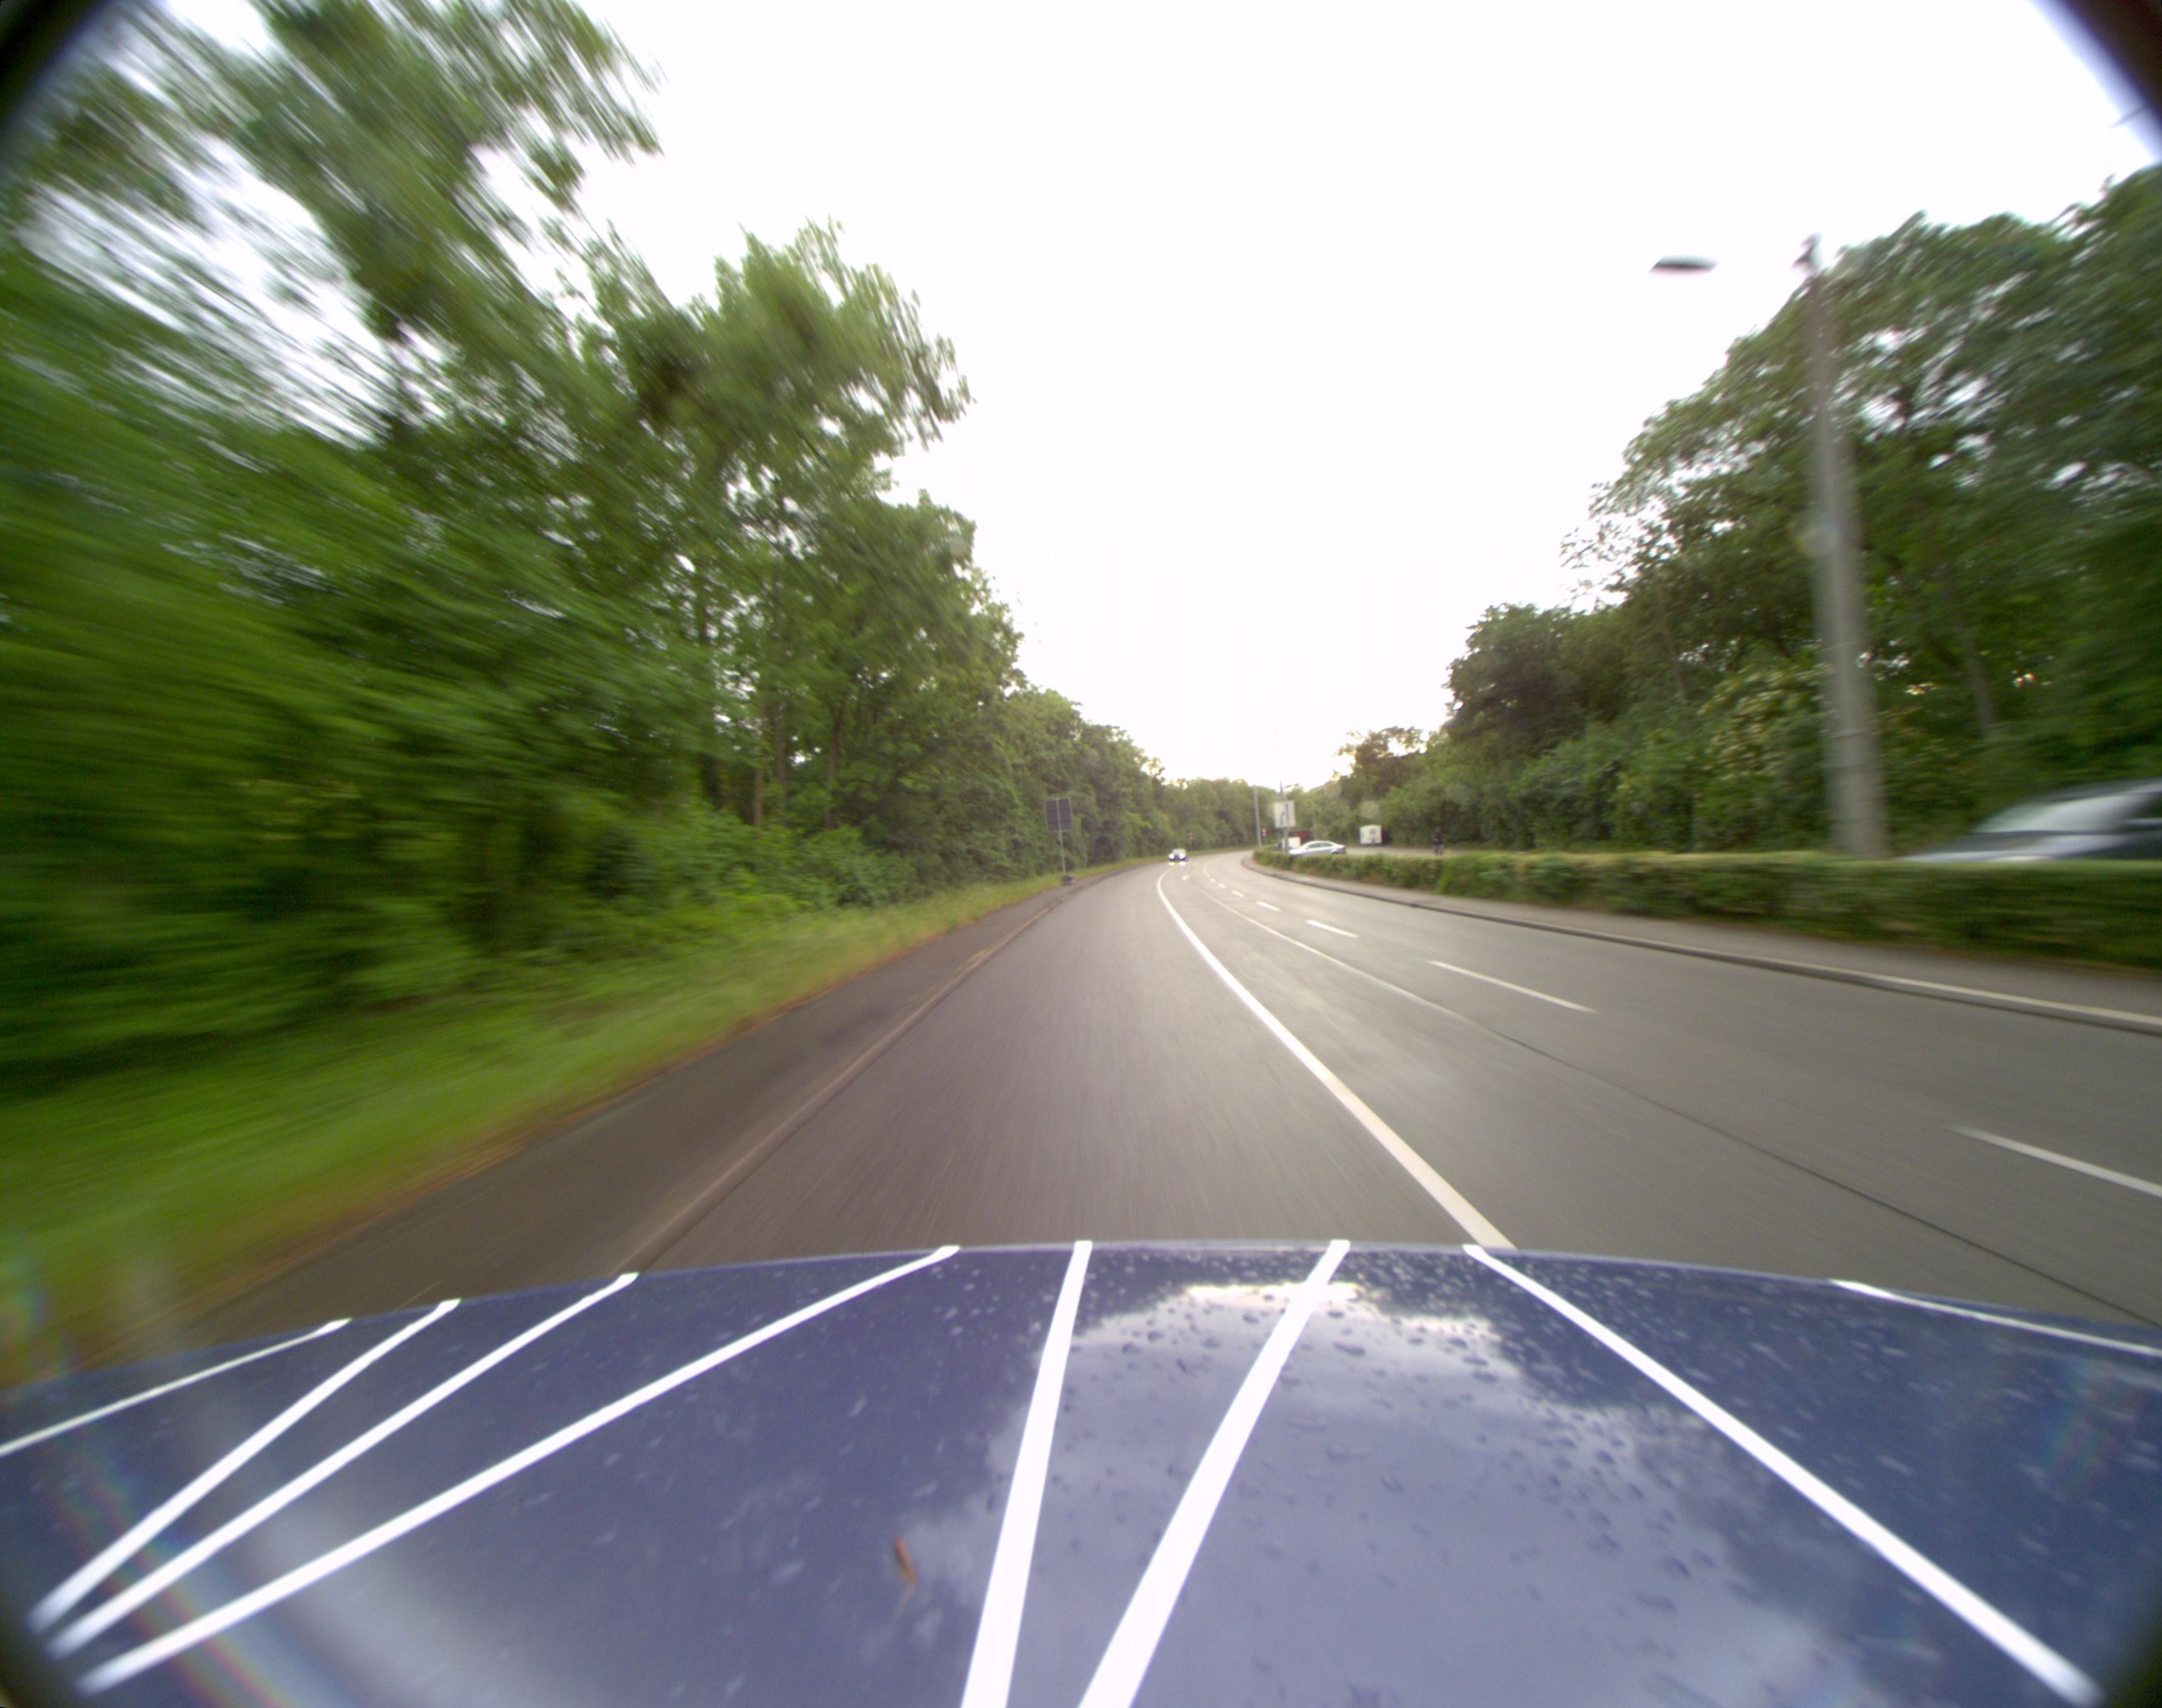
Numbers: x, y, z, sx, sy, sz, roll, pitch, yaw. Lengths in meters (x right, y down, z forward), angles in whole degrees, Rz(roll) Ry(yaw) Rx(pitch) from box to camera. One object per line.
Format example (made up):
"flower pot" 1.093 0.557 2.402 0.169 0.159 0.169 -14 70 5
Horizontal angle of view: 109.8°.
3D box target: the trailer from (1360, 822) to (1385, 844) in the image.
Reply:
"trailer" 40.948 -2.979 106.867 2.479 2.857 7.984 -2 1 15

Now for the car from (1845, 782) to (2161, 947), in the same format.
"car" 12.378 0.029 9.034 4.299 1.698 2.001 -3 1 7

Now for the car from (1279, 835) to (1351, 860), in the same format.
"car" 16.961 -0.469 55.188 4.585 1.497 2.000 -3 1 4

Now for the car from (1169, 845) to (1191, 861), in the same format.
"car" 11.527 -0.183 88.280 1.997 1.674 4.003 -2 1 13

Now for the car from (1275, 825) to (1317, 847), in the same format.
"car" 34.105 -2.823 120.515 6.281 3.096 2.754 -3 2 16

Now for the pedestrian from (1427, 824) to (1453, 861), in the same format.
"pedestrian" 18.217 -0.582 38.597 0.818 1.787 1.136 -3 1 8

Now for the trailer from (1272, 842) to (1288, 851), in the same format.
"trailer" 25.109 -0.973 96.008 1.804 1.029 1.335 -3 1 12

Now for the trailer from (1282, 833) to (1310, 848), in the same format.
"trailer" 32.645 -2.076 115.288 3.992 2.041 1.875 -2 1 18
